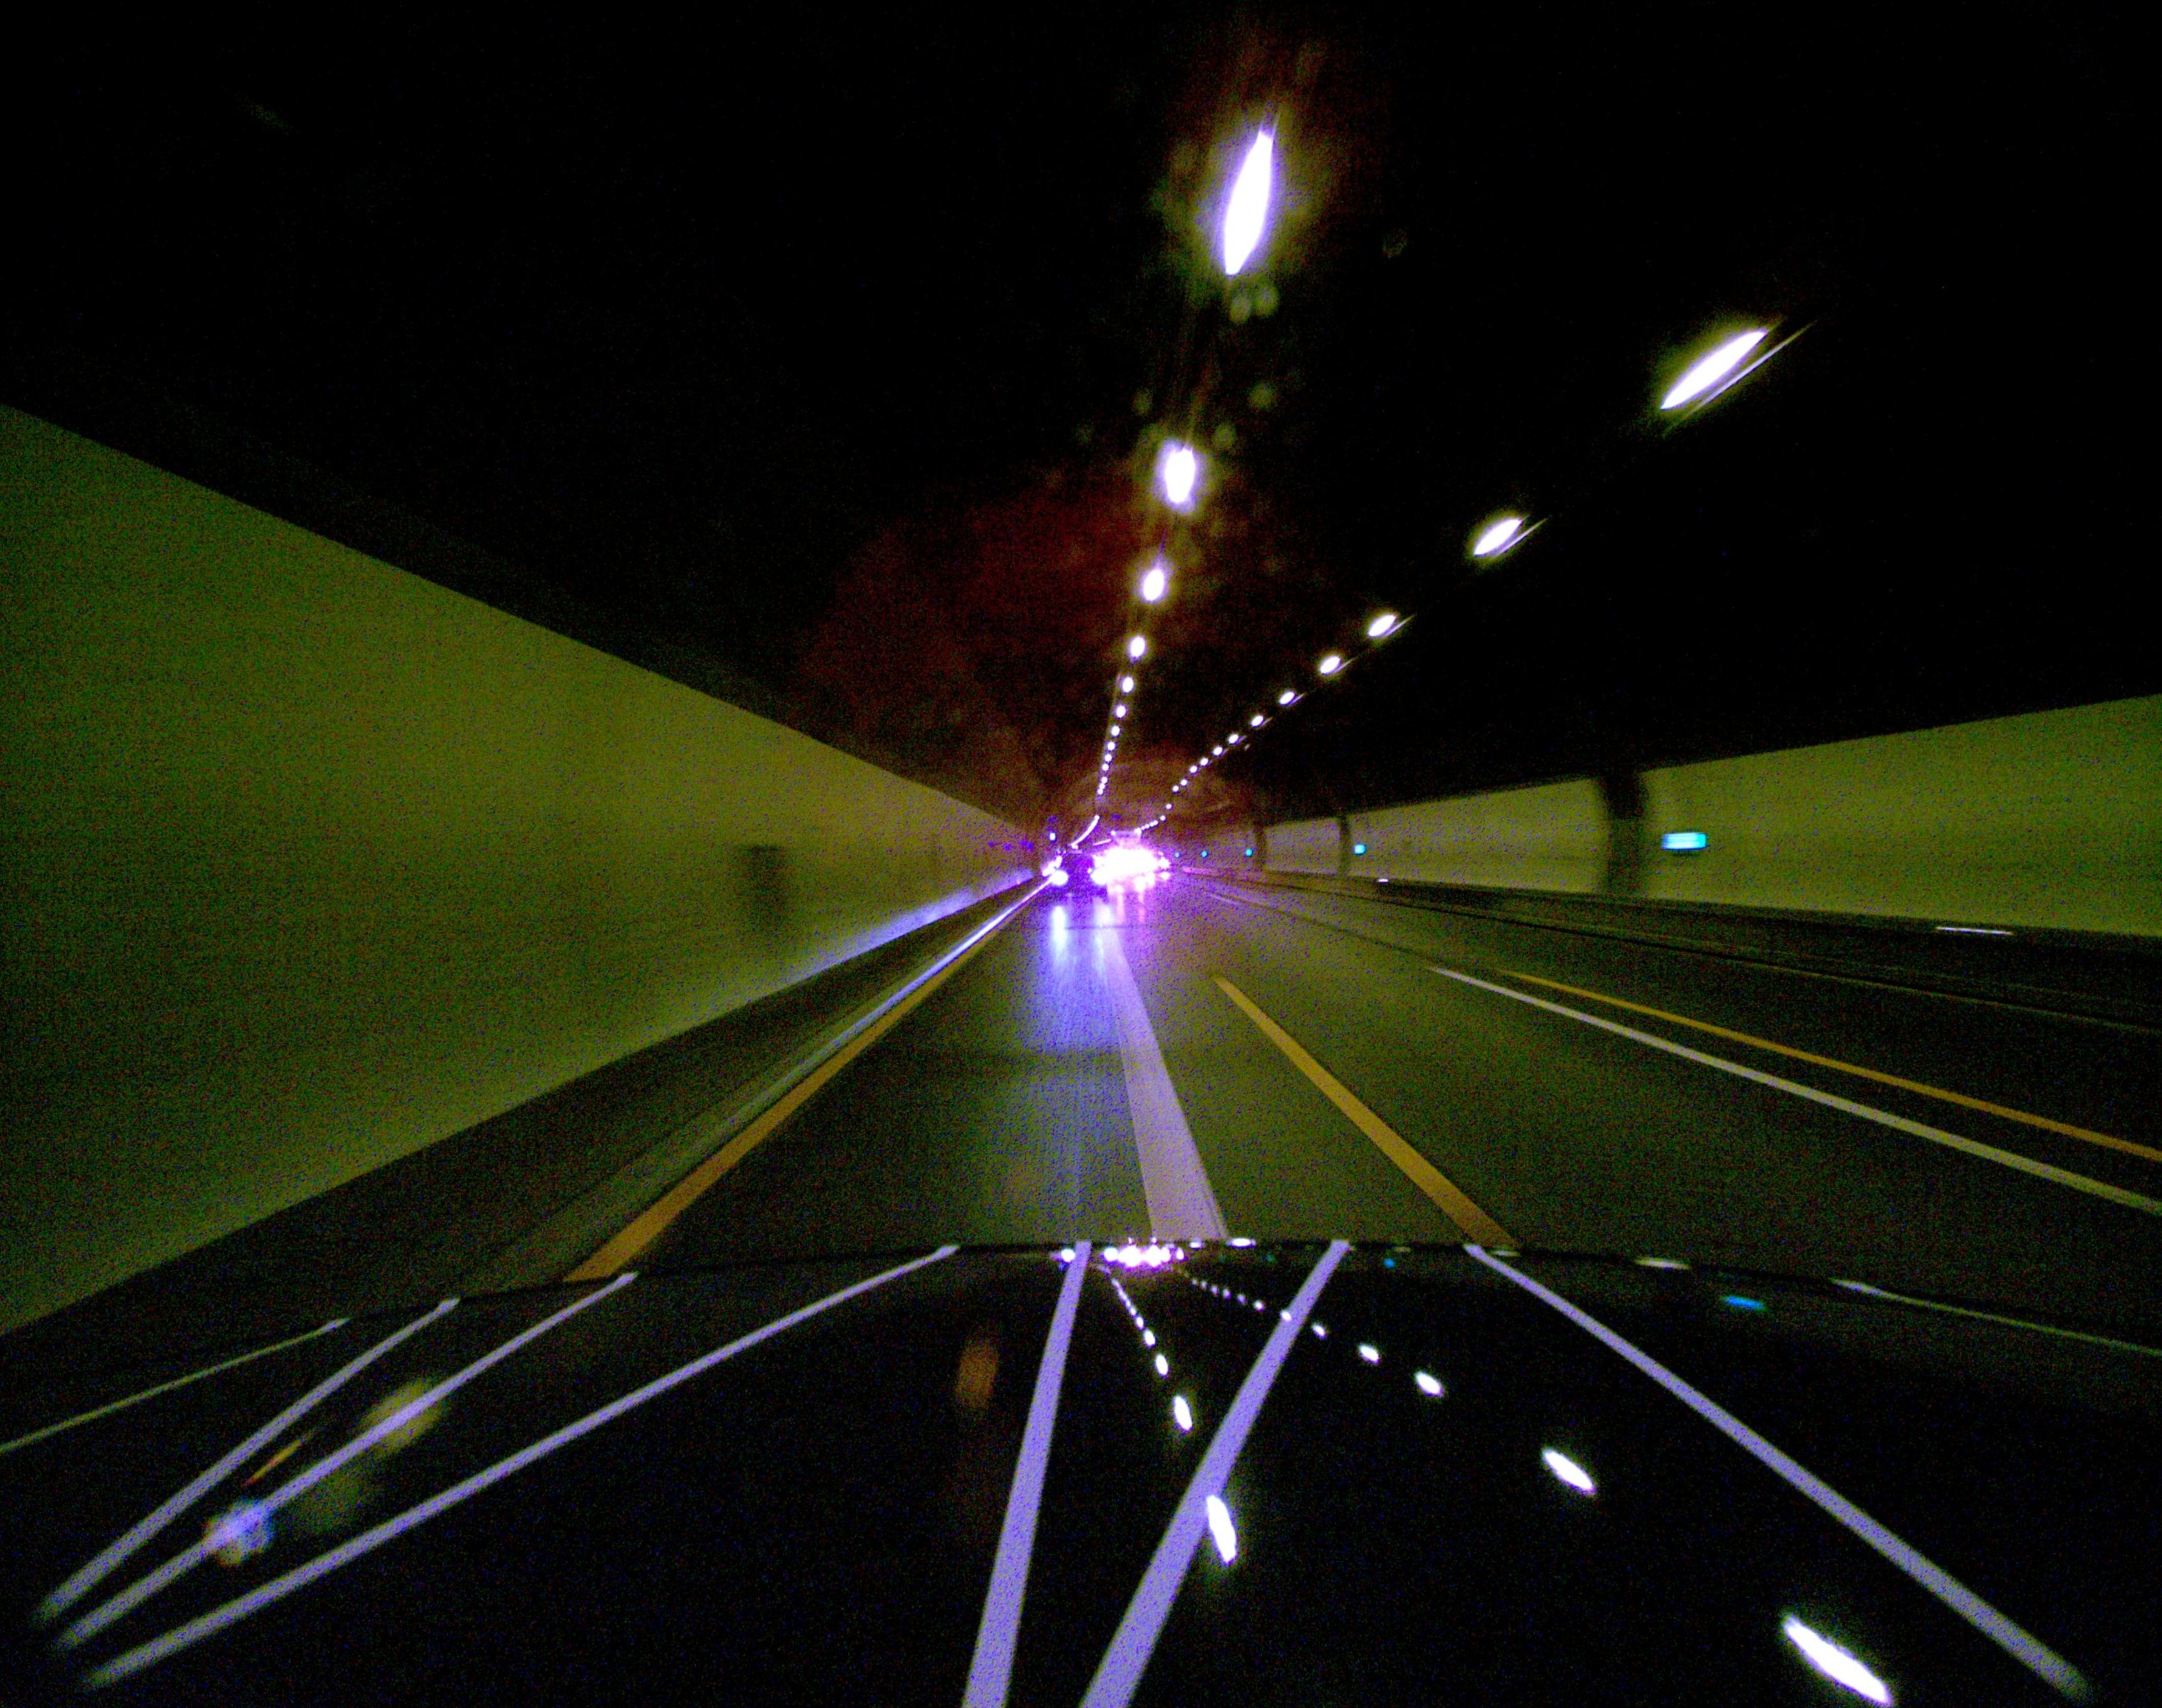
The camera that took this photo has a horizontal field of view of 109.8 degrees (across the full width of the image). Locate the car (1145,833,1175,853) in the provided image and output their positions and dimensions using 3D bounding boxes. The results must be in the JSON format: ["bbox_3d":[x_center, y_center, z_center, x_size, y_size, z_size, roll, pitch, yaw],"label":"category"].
[{"bbox_3d":[6.446,-0.914,62.429,1.998,1.531,4.850,-2,1,1],"label":"car"}]

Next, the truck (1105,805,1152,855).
[{"bbox_3d":[3.355,-1.645,55.646,2.534,3.314,7.713,-2,0,-3],"label":"truck"}]

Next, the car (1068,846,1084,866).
[{"bbox_3d":[-0.730,0.215,109.931,1.999,2.710,6.272,-2,1,-3],"label":"car"}]

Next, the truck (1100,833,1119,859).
[{"bbox_3d":[3.559,-0.988,96.126,2.162,3.098,6.029,-2,1,0],"label":"truck"}]

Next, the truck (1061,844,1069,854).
[{"bbox_3d":[-5.553,-1.853,266.010,2.208,3.449,11.764,-1,0,1],"label":"truck"}]

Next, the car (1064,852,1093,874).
[{"bbox_3d":[-0.238,0.678,58.460,1.999,1.531,4.740,-2,1,-3],"label":"car"}]

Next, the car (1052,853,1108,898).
[{"bbox_3d":[-0.130,0.719,28.207,1.826,1.469,4.520,-2,0,-3],"label":"car"}]
